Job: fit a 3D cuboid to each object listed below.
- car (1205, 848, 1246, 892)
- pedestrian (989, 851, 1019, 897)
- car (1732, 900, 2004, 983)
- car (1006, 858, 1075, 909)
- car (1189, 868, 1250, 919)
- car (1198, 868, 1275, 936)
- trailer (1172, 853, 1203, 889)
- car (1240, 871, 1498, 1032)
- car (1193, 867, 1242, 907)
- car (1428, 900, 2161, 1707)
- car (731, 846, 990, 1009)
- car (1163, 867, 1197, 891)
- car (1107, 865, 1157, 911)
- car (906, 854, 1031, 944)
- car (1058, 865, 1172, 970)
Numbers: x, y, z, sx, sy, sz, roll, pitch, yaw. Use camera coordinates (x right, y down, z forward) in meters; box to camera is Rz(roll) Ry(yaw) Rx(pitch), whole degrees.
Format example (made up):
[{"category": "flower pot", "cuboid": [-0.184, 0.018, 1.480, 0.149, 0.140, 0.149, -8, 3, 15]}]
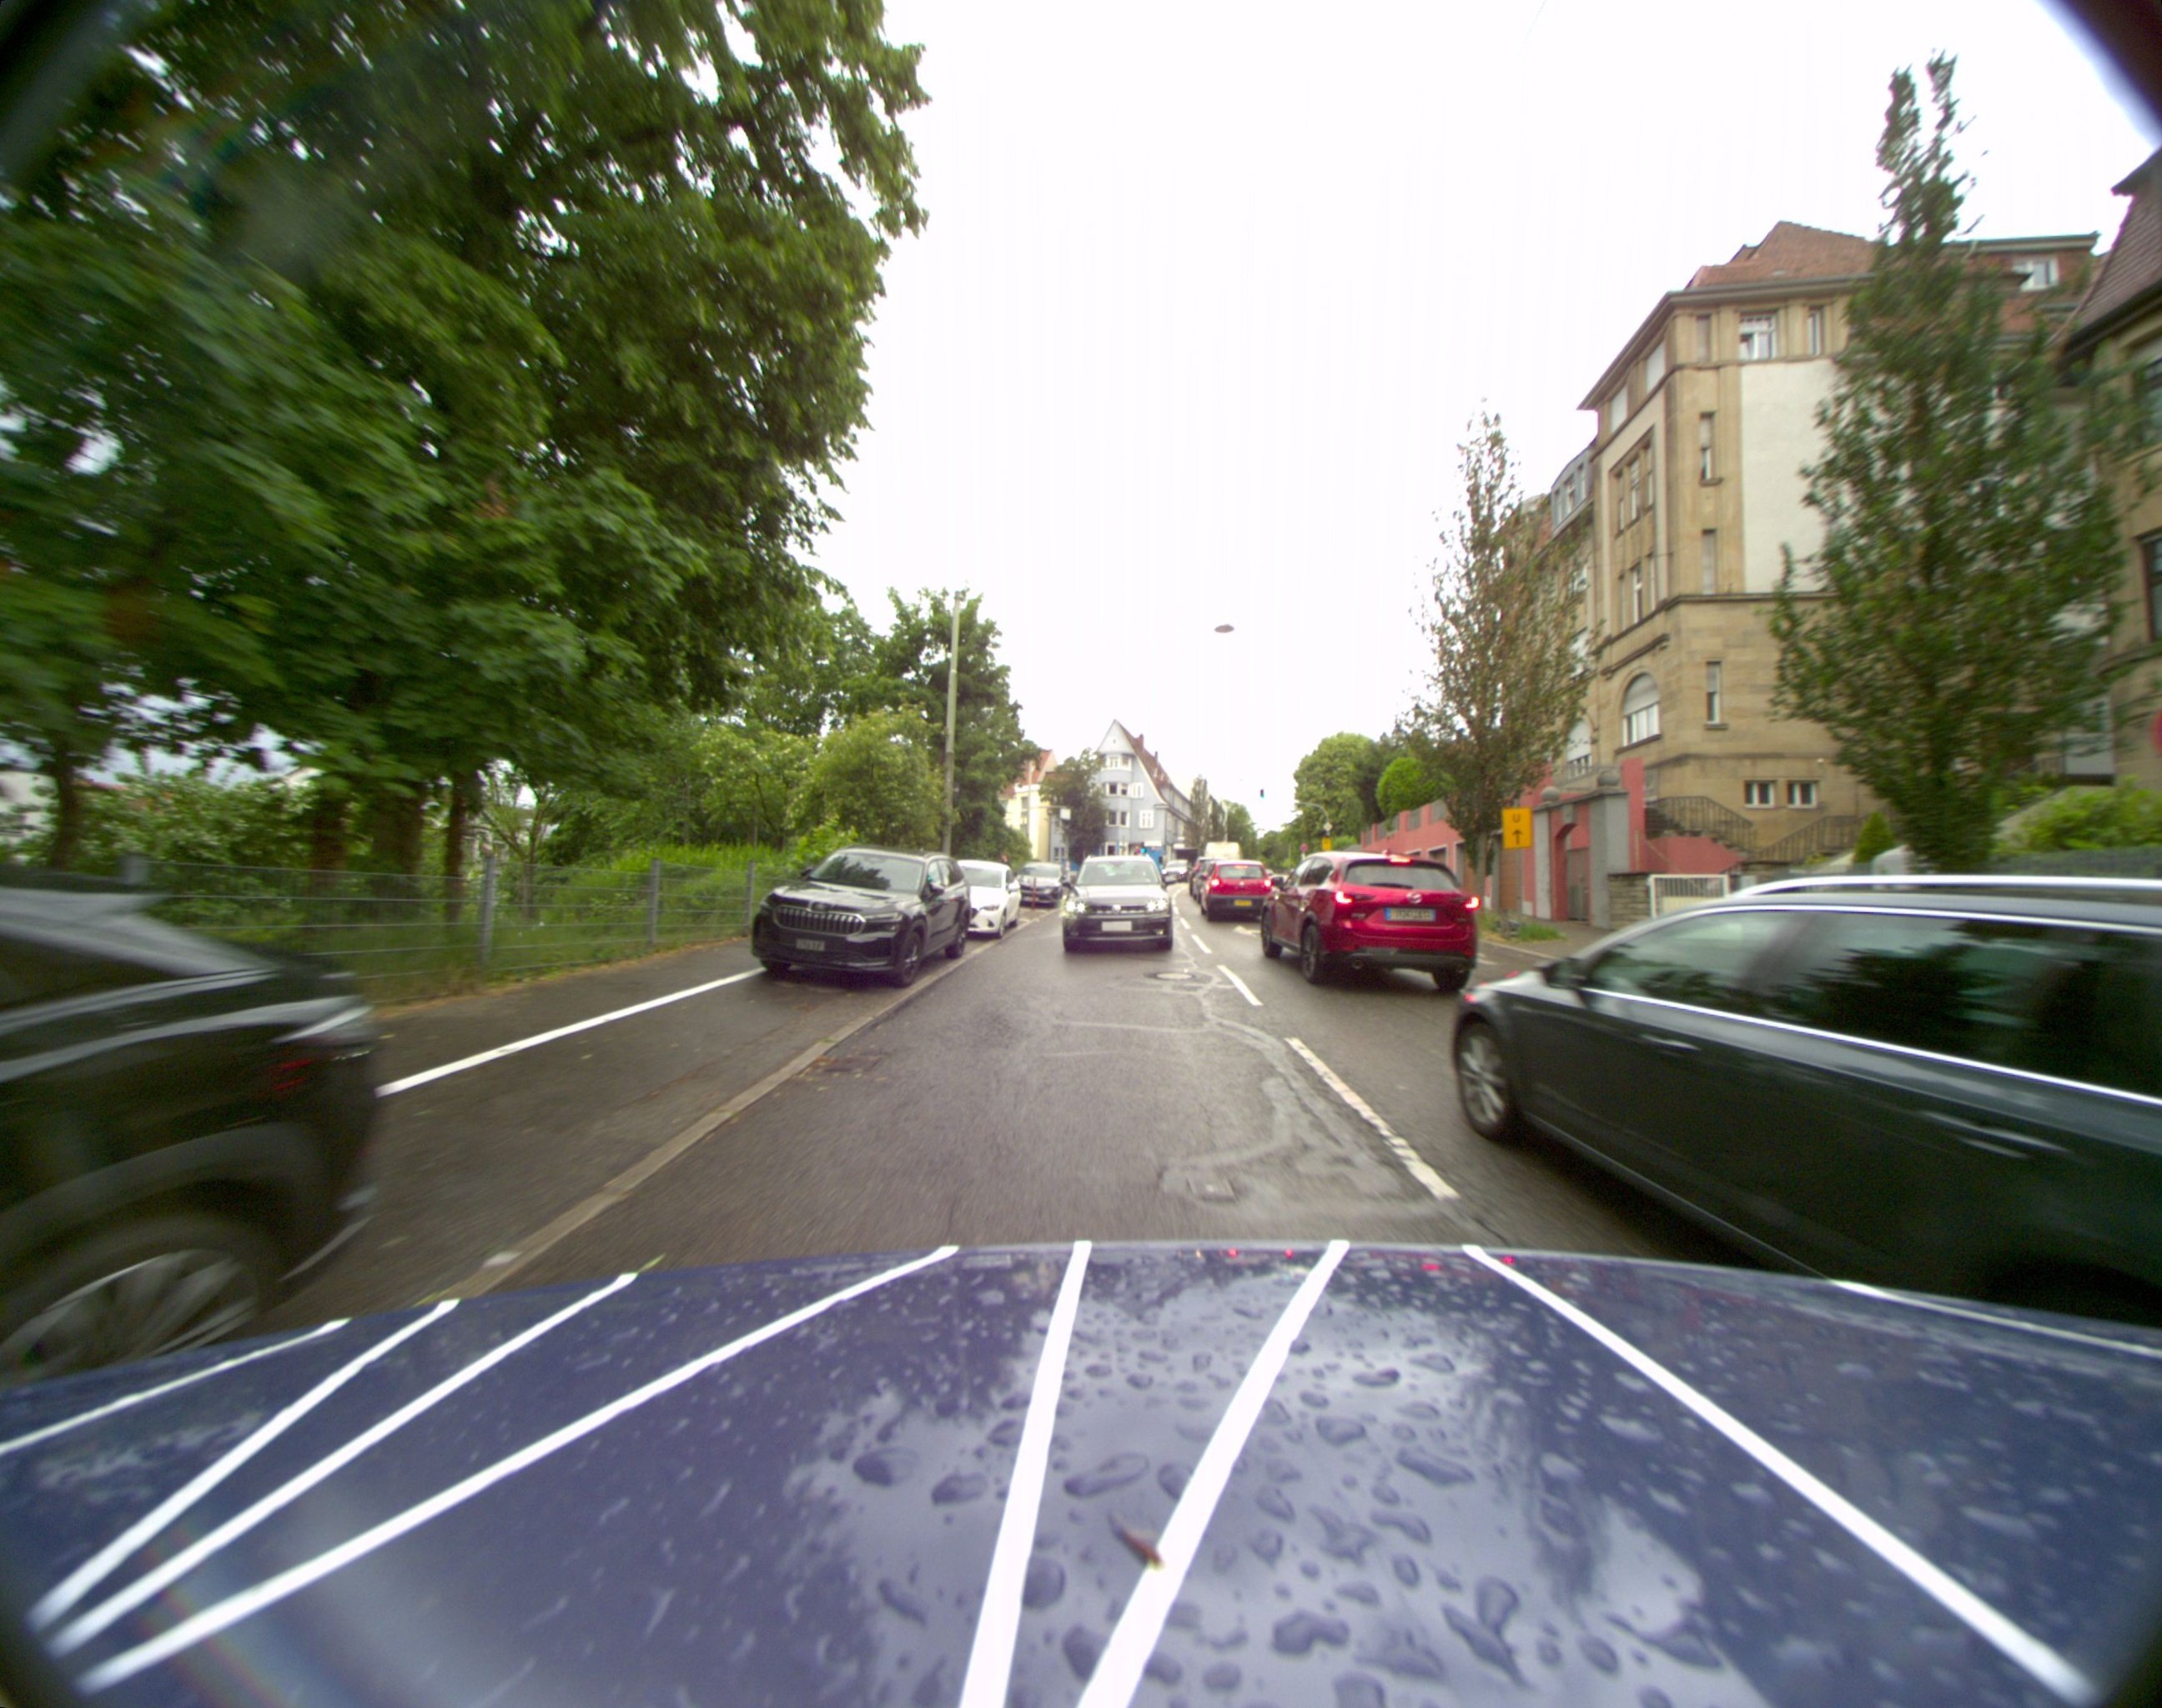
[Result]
[{"category": "car", "cuboid": [8.983, 0.964, 46.889, 2.120, 2.530, 5.546, 1, 0, 14]}, {"category": "pedestrian", "cuboid": [-2.774, 0.723, 27.373, 0.767, 1.596, 0.966, 3, 0, 8]}, {"category": "car", "cuboid": [15.691, 1.717, 15.312, 3.559, 1.390, 1.790, 2, -1, 2]}, {"category": "car", "cuboid": [-1.308, 0.963, 26.173, 1.652, 1.397, 3.814, 5, 2, 6]}, {"category": "car", "cuboid": [4.860, 1.334, 27.096, 1.777, 1.488, 4.265, 4, 0, 7]}, {"category": "car", "cuboid": [4.021, 1.180, 20.127, 1.658, 1.559, 4.002, 0, 0, 7]}, {"category": "trailer", "cuboid": [7.947, 1.228, 56.520, 1.768, 2.610, 3.037, -1, 0, 17]}, {"category": "car", "cuboid": [3.568, 1.101, 10.363, 1.850, 1.574, 4.279, 3, 0, 1]}, {"category": "car", "cuboid": [5.891, 1.368, 33.199, 1.878, 1.565, 4.589, 1, 0, 7]}, {"category": "car", "cuboid": [2.853, 1.017, 2.319, 1.742, 1.465, 4.282, 2, 0, 2]}, {"category": "car", "cuboid": [-2.701, 0.817, 10.671, 1.825, 1.673, 4.805, 3, 0, 4]}, {"category": "car", "cuboid": [6.987, 1.716, 53.424, 1.734, 1.610, 3.480, -1, 0, 17]}, {"category": "car", "cuboid": [2.073, 1.272, 29.848, 1.785, 1.631, 4.202, 1, -1, 6]}, {"category": "car", "cuboid": [-2.287, 0.866, 16.516, 1.819, 1.486, 4.000, 6, 1, 2]}, {"category": "car", "cuboid": [0.708, 1.040, 14.159, 1.785, 1.631, 4.202, 1, -1, 5]}]
